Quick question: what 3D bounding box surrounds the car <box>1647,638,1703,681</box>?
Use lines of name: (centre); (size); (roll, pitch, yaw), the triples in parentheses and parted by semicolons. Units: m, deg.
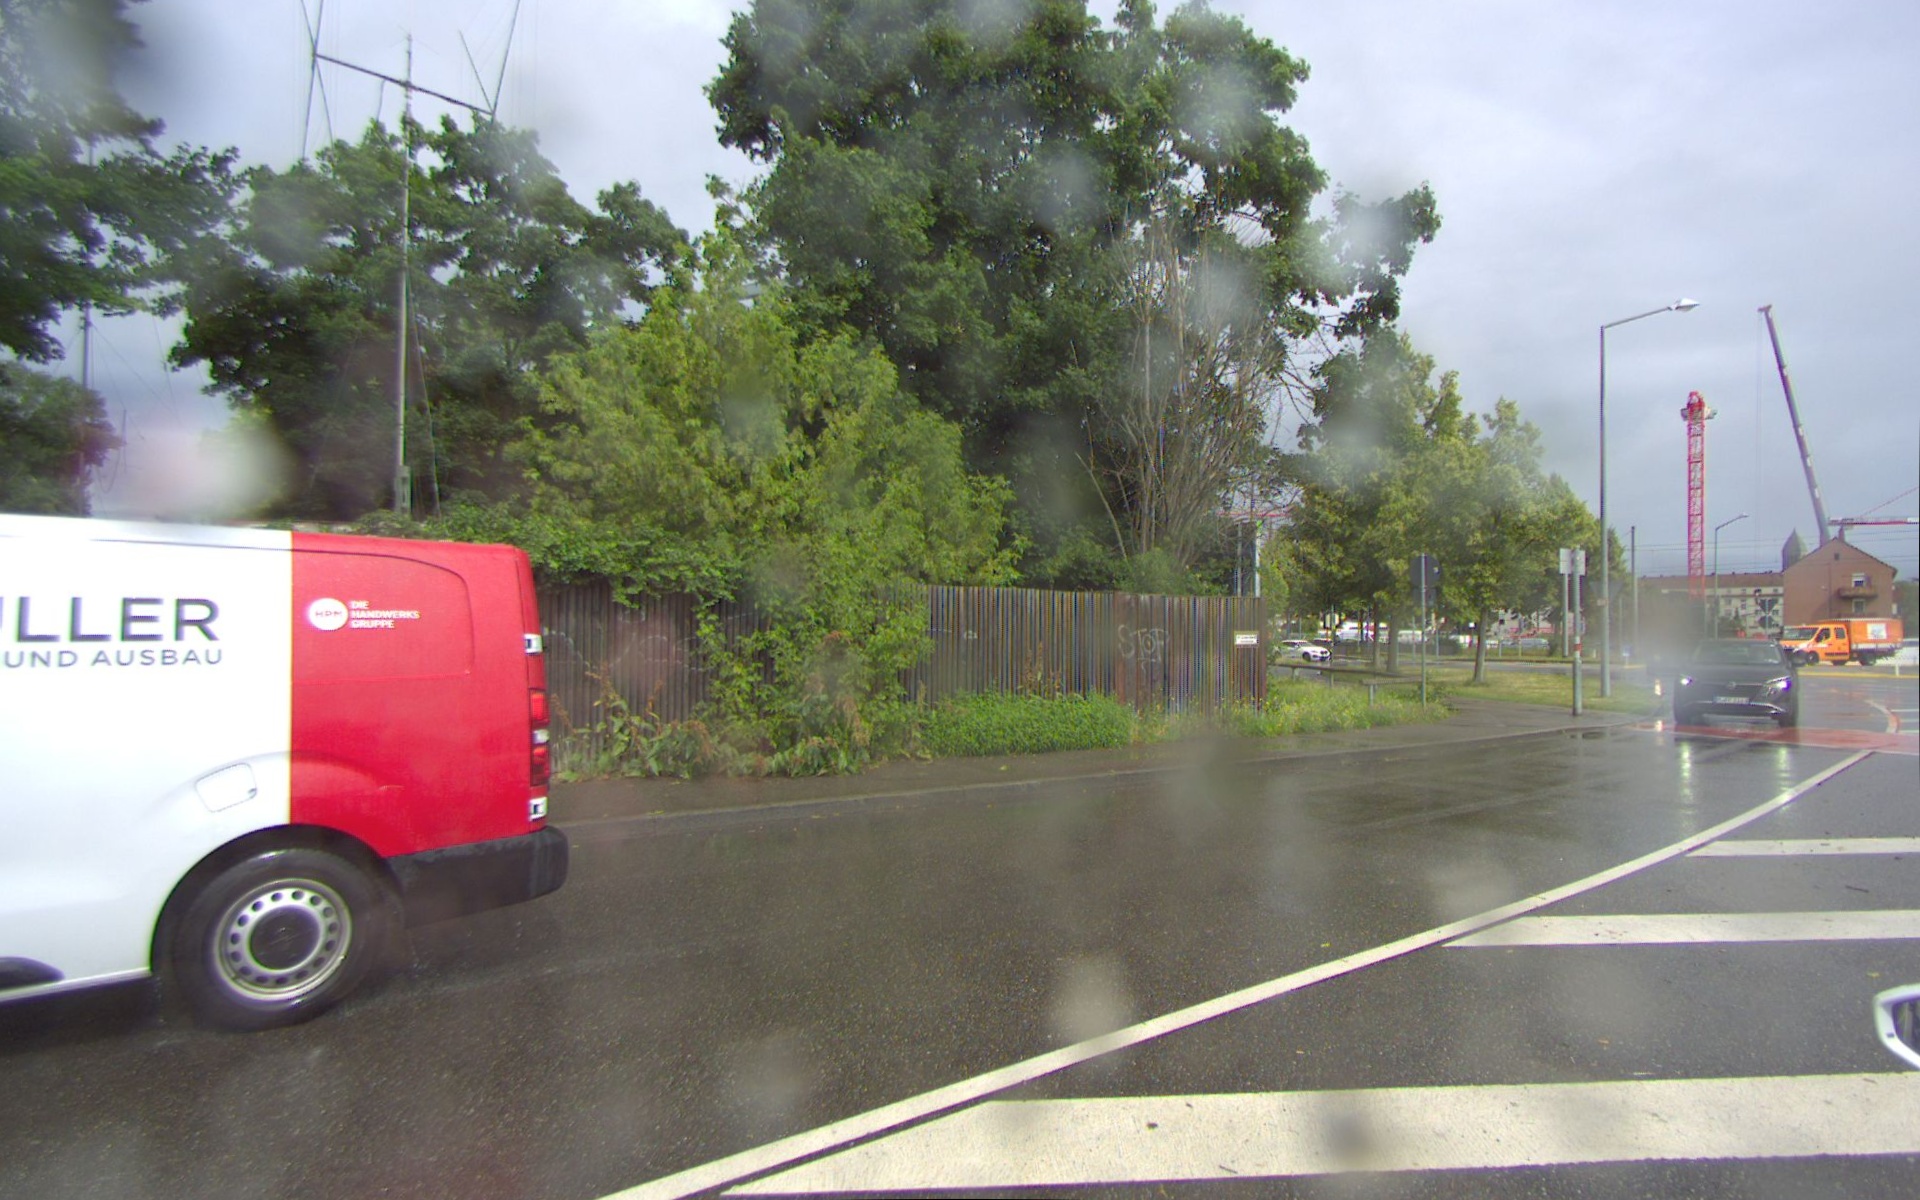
car: (30.119, 2.465, 42.403); (1.542, 1.670, 3.647); (0, -1, 29)

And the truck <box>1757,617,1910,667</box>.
truck: (49.482, 2.346, 56.994); (6.953, 2.685, 2.329); (1, -1, -4)

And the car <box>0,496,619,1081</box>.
car: (-4.112, 0.630, 3.726); (5.082, 1.900, 1.876); (2, -3, -36)

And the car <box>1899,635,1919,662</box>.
car: (59.586, 2.986, 61.034); (3.444, 1.605, 1.564); (0, -1, 30)

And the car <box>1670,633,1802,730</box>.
car: (15.298, 1.526, 19.724); (1.715, 1.685, 4.087); (-3, -4, 42)

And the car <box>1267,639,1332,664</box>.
car: (23.874, 3.589, 70.790); (1.613, 1.649, 4.373); (1, -1, -32)
